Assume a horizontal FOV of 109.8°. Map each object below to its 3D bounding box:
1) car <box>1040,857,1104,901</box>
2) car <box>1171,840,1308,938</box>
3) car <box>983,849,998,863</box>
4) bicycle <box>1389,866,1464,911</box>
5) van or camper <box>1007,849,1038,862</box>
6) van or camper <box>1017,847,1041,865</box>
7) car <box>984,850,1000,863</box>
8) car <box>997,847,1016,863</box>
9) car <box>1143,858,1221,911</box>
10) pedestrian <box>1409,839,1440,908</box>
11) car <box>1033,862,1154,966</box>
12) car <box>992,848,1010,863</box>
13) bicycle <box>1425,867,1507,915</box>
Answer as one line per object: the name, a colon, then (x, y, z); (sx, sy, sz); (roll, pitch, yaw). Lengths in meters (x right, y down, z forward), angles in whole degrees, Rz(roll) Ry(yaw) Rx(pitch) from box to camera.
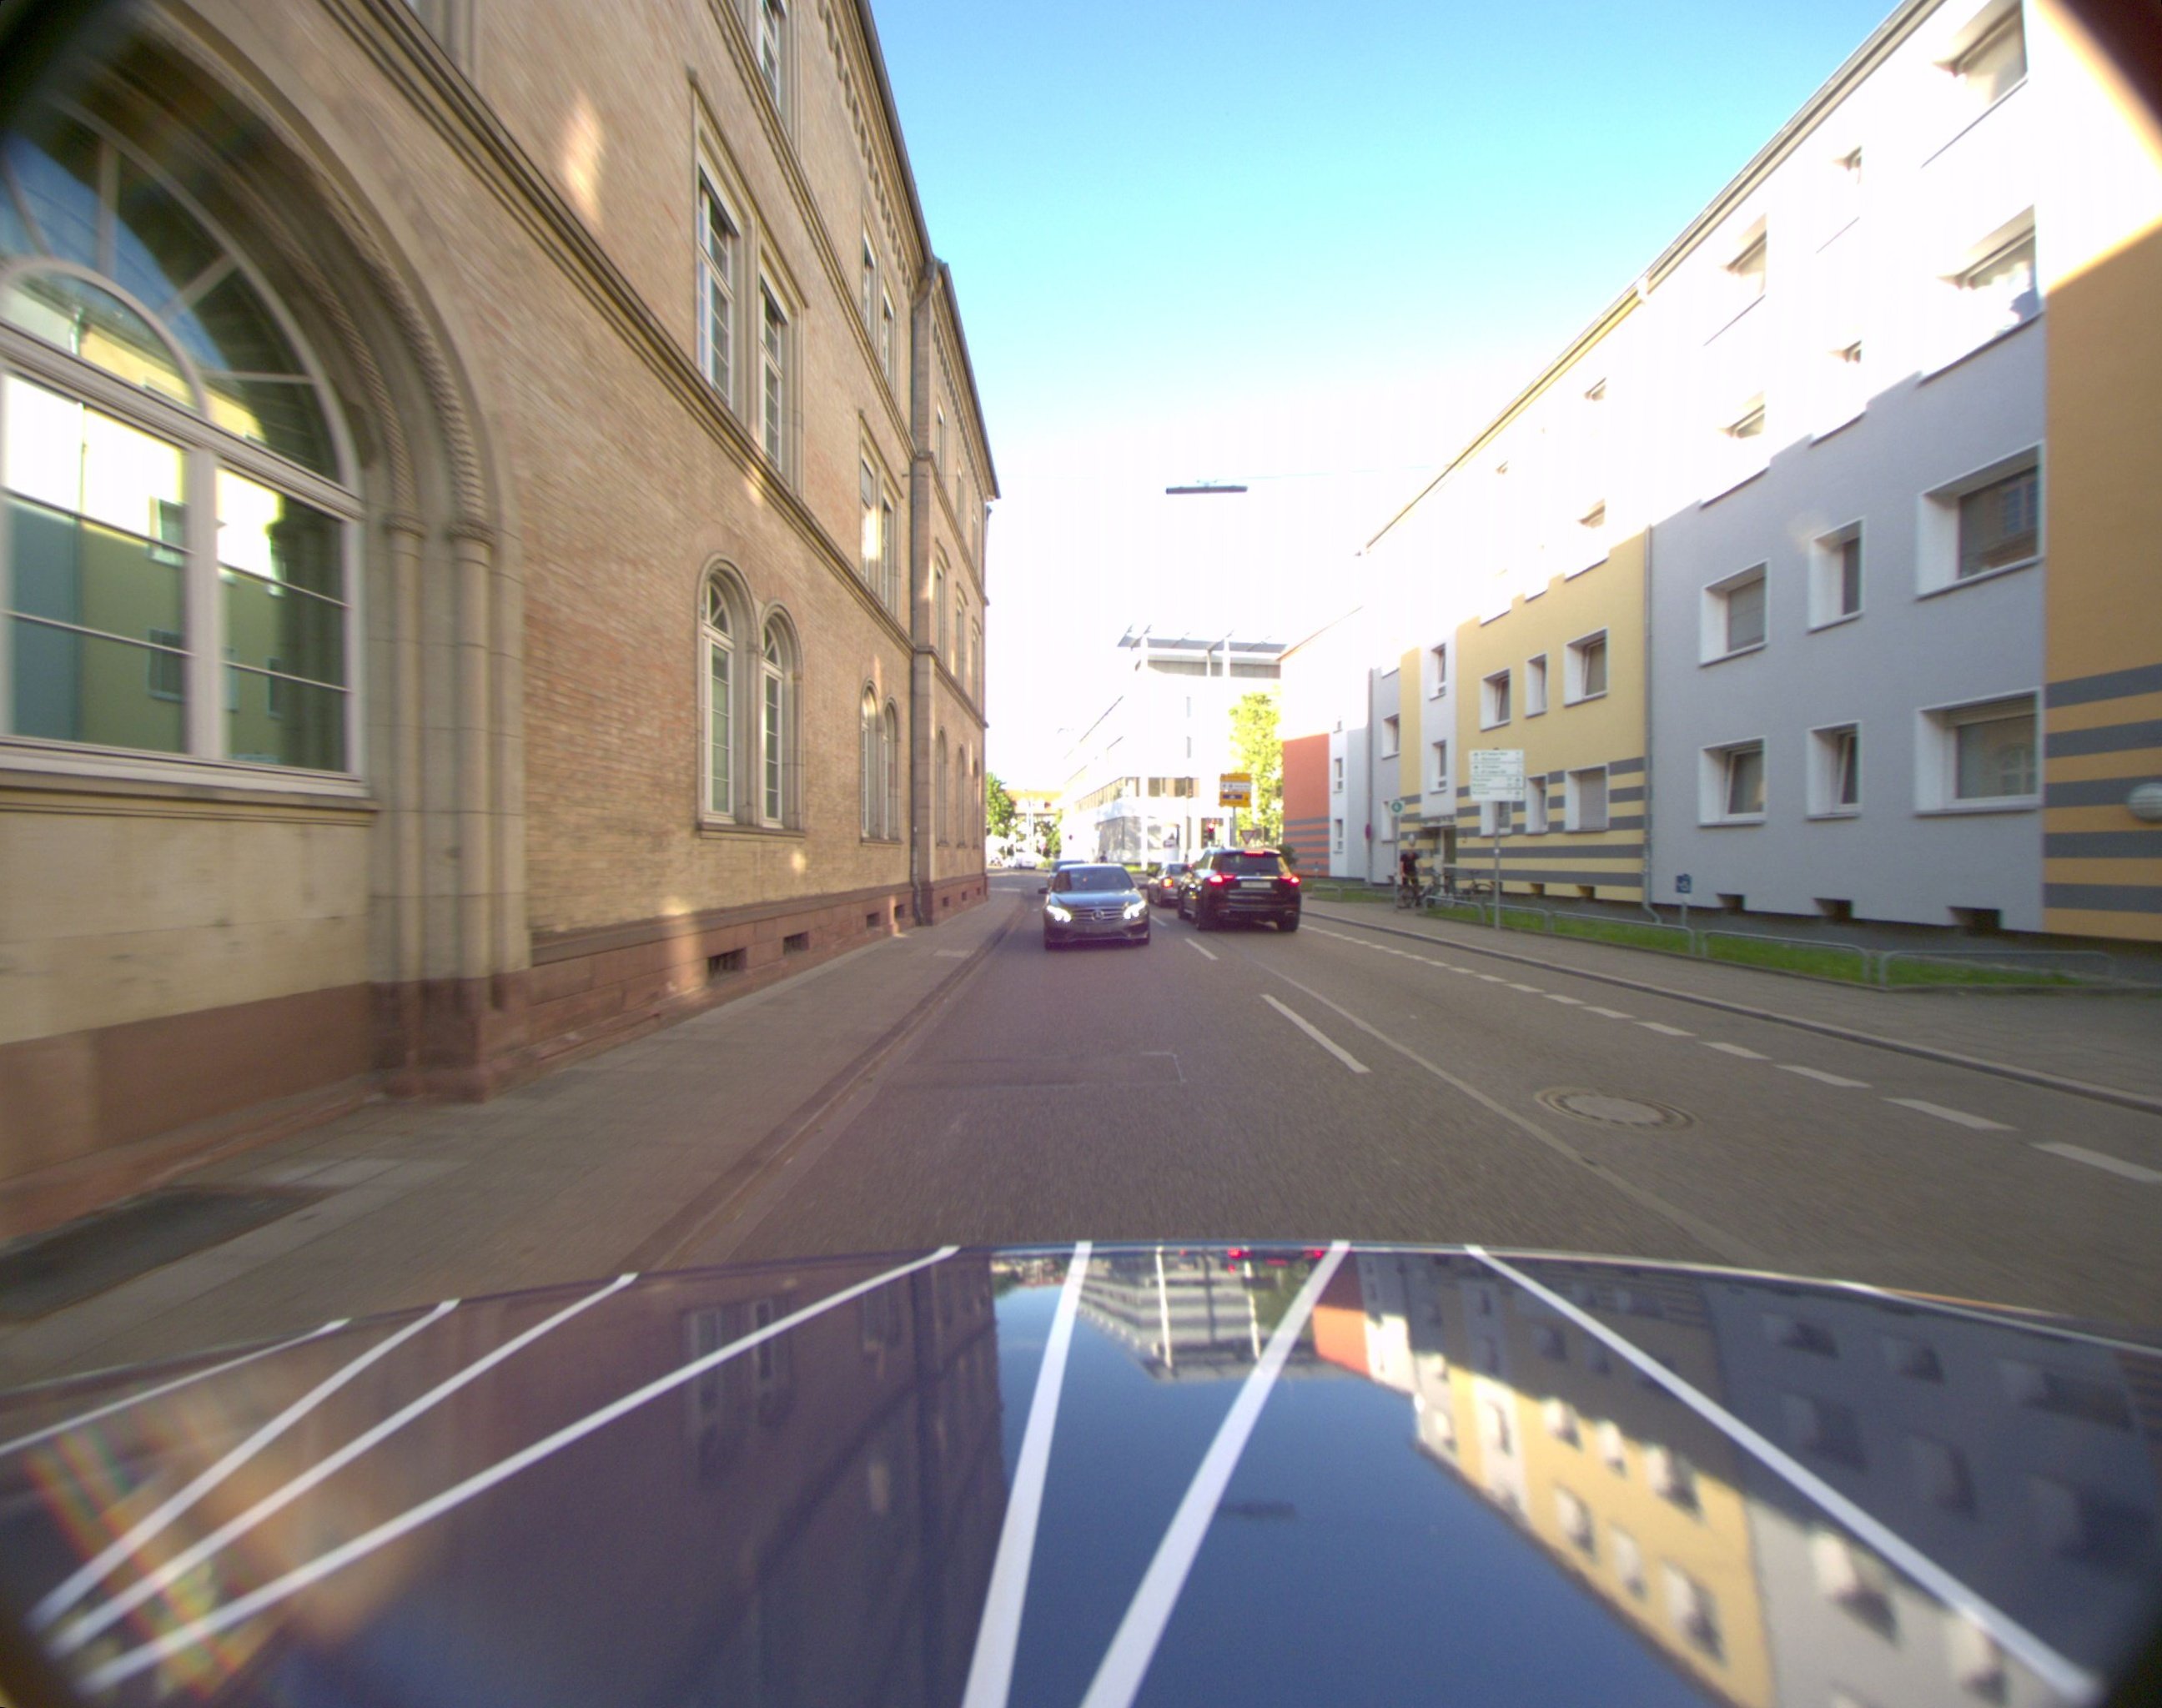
car: (-0.294, 0.945, 30.514); (1.745, 1.594, 4.003); (0, 0, 12)
car: (3.331, 0.659, 17.025); (1.905, 1.824, 5.094); (1, 0, -1)
car: (-14.190, 0.291, 118.688); (2.000, 2.001, 3.997); (-1, -1, -12)
bicycle: (9.210, 0.905, 20.275); (1.757, 1.138, 0.650); (0, 1, -7)
van or camper: (-9.644, 0.170, 125.491); (4.737, 2.074, 1.996); (-1, 0, -21)
van or camper: (-6.059, 0.206, 88.410); (2.163, 2.002, 4.971); (0, 0, -11)
car: (-13.347, 0.361, 113.980); (2.000, 2.002, 3.996); (-1, 0, -12)
car: (-9.632, 0.081, 98.148); (2.000, 2.002, 3.996); (-1, 0, -12)
car: (3.083, 0.886, 23.924); (1.745, 1.477, 4.135); (2, 0, -2)
pedestrian: (9.314, 0.519, 20.627); (0.720, 1.844, 0.871); (0, 1, 22)
car: (0.330, 0.956, 14.092); (1.798, 1.460, 4.720); (-3, 0, 3)
car: (-10.779, 0.182, 102.699); (2.000, 2.002, 3.996); (-1, 0, -12)
bicycle: (9.558, 0.902, 18.900); (1.757, 1.138, 0.650); (0, 1, -7)
